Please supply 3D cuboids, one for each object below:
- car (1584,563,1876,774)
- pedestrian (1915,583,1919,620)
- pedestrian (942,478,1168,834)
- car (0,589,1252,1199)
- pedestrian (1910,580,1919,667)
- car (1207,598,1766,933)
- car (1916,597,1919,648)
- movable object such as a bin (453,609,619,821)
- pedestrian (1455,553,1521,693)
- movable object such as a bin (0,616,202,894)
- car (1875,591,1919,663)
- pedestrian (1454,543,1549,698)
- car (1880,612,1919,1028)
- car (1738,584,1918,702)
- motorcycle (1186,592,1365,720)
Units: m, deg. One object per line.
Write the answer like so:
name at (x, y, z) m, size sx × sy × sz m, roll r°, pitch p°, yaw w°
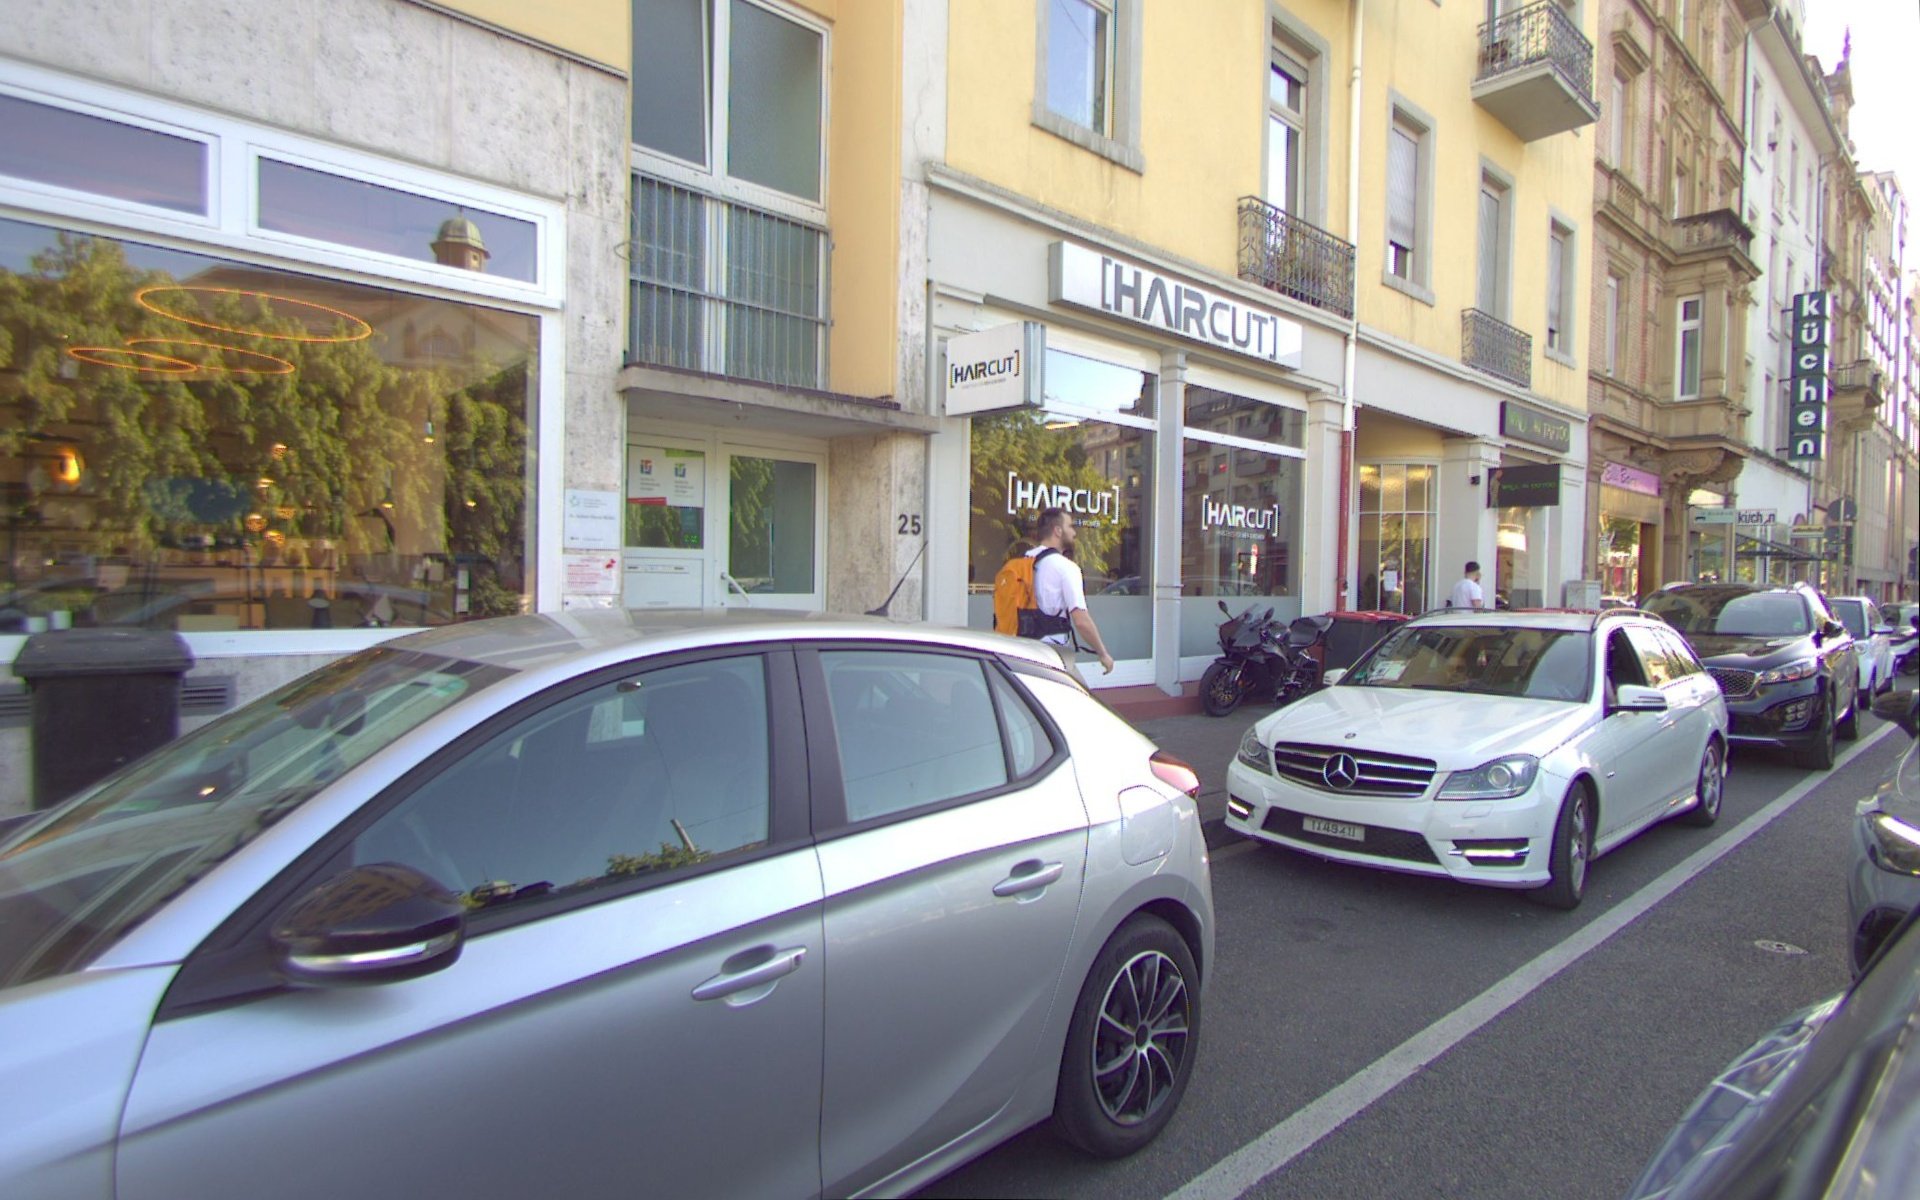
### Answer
car at (8.012, 0.528, 10.367) m, size 4.338 × 1.711 × 1.802 m, roll -1°, pitch 0°, yaw -45°
pedestrian at (46.885, 0.084, 49.012) m, size 0.809 × 1.782 × 0.825 m, roll 0°, pitch 0°, yaw -42°
pedestrian at (0.544, 0.268, 5.845) m, size 0.964 × 1.845 × 0.811 m, roll 0°, pitch 3°, yaw -37°
car at (-1.004, 0.712, 2.308) m, size 3.625 × 1.455 × 1.585 m, roll -1°, pitch 0°, yaw -43°
pedestrian at (19.736, 0.473, 20.167) m, size 0.803 × 1.741 × 0.839 m, roll 0°, pitch 0°, yaw -11°
car at (3.535, 0.706, 6.388) m, size 4.301 × 1.389 × 1.671 m, roll -1°, pitch 0°, yaw -41°
car at (26.613, 0.571, 26.927) m, size 3.306 × 1.334 × 1.459 m, roll -1°, pitch 0°, yaw -42°
movable object such as a bin at (-2.324, 0.578, 5.538) m, size 0.639 × 1.036 × 0.737 m, roll 0°, pitch 0°, yaw -41°
pedestrian at (7.242, 0.298, 13.875) m, size 0.627 × 1.859 × 0.760 m, roll 0°, pitch 0°, yaw 41°
movable object such as a bin at (-3.671, 0.597, 4.324) m, size 0.639 × 1.036 × 0.737 m, roll 0°, pitch 0°, yaw -41°
car at (21.901, 0.563, 22.809) m, size 3.736 × 1.509 × 1.691 m, roll -1°, pitch 0°, yaw -45°
pedestrian at (6.823, 0.252, 12.789) m, size 0.961 × 1.900 × 0.532 m, roll 0°, pitch 0°, yaw 18°
car at (5.400, 0.747, 4.377) m, size 4.397 × 1.385 × 1.767 m, roll -1°, pitch 1°, yaw -43°
car at (12.774, 0.544, 14.853) m, size 2.945 × 1.542 × 1.582 m, roll -1°, pitch 0°, yaw -41°
motorcycle at (3.304, 0.520, 10.505) m, size 2.073 × 1.144 × 0.735 m, roll -1°, pitch 5°, yaw -41°
